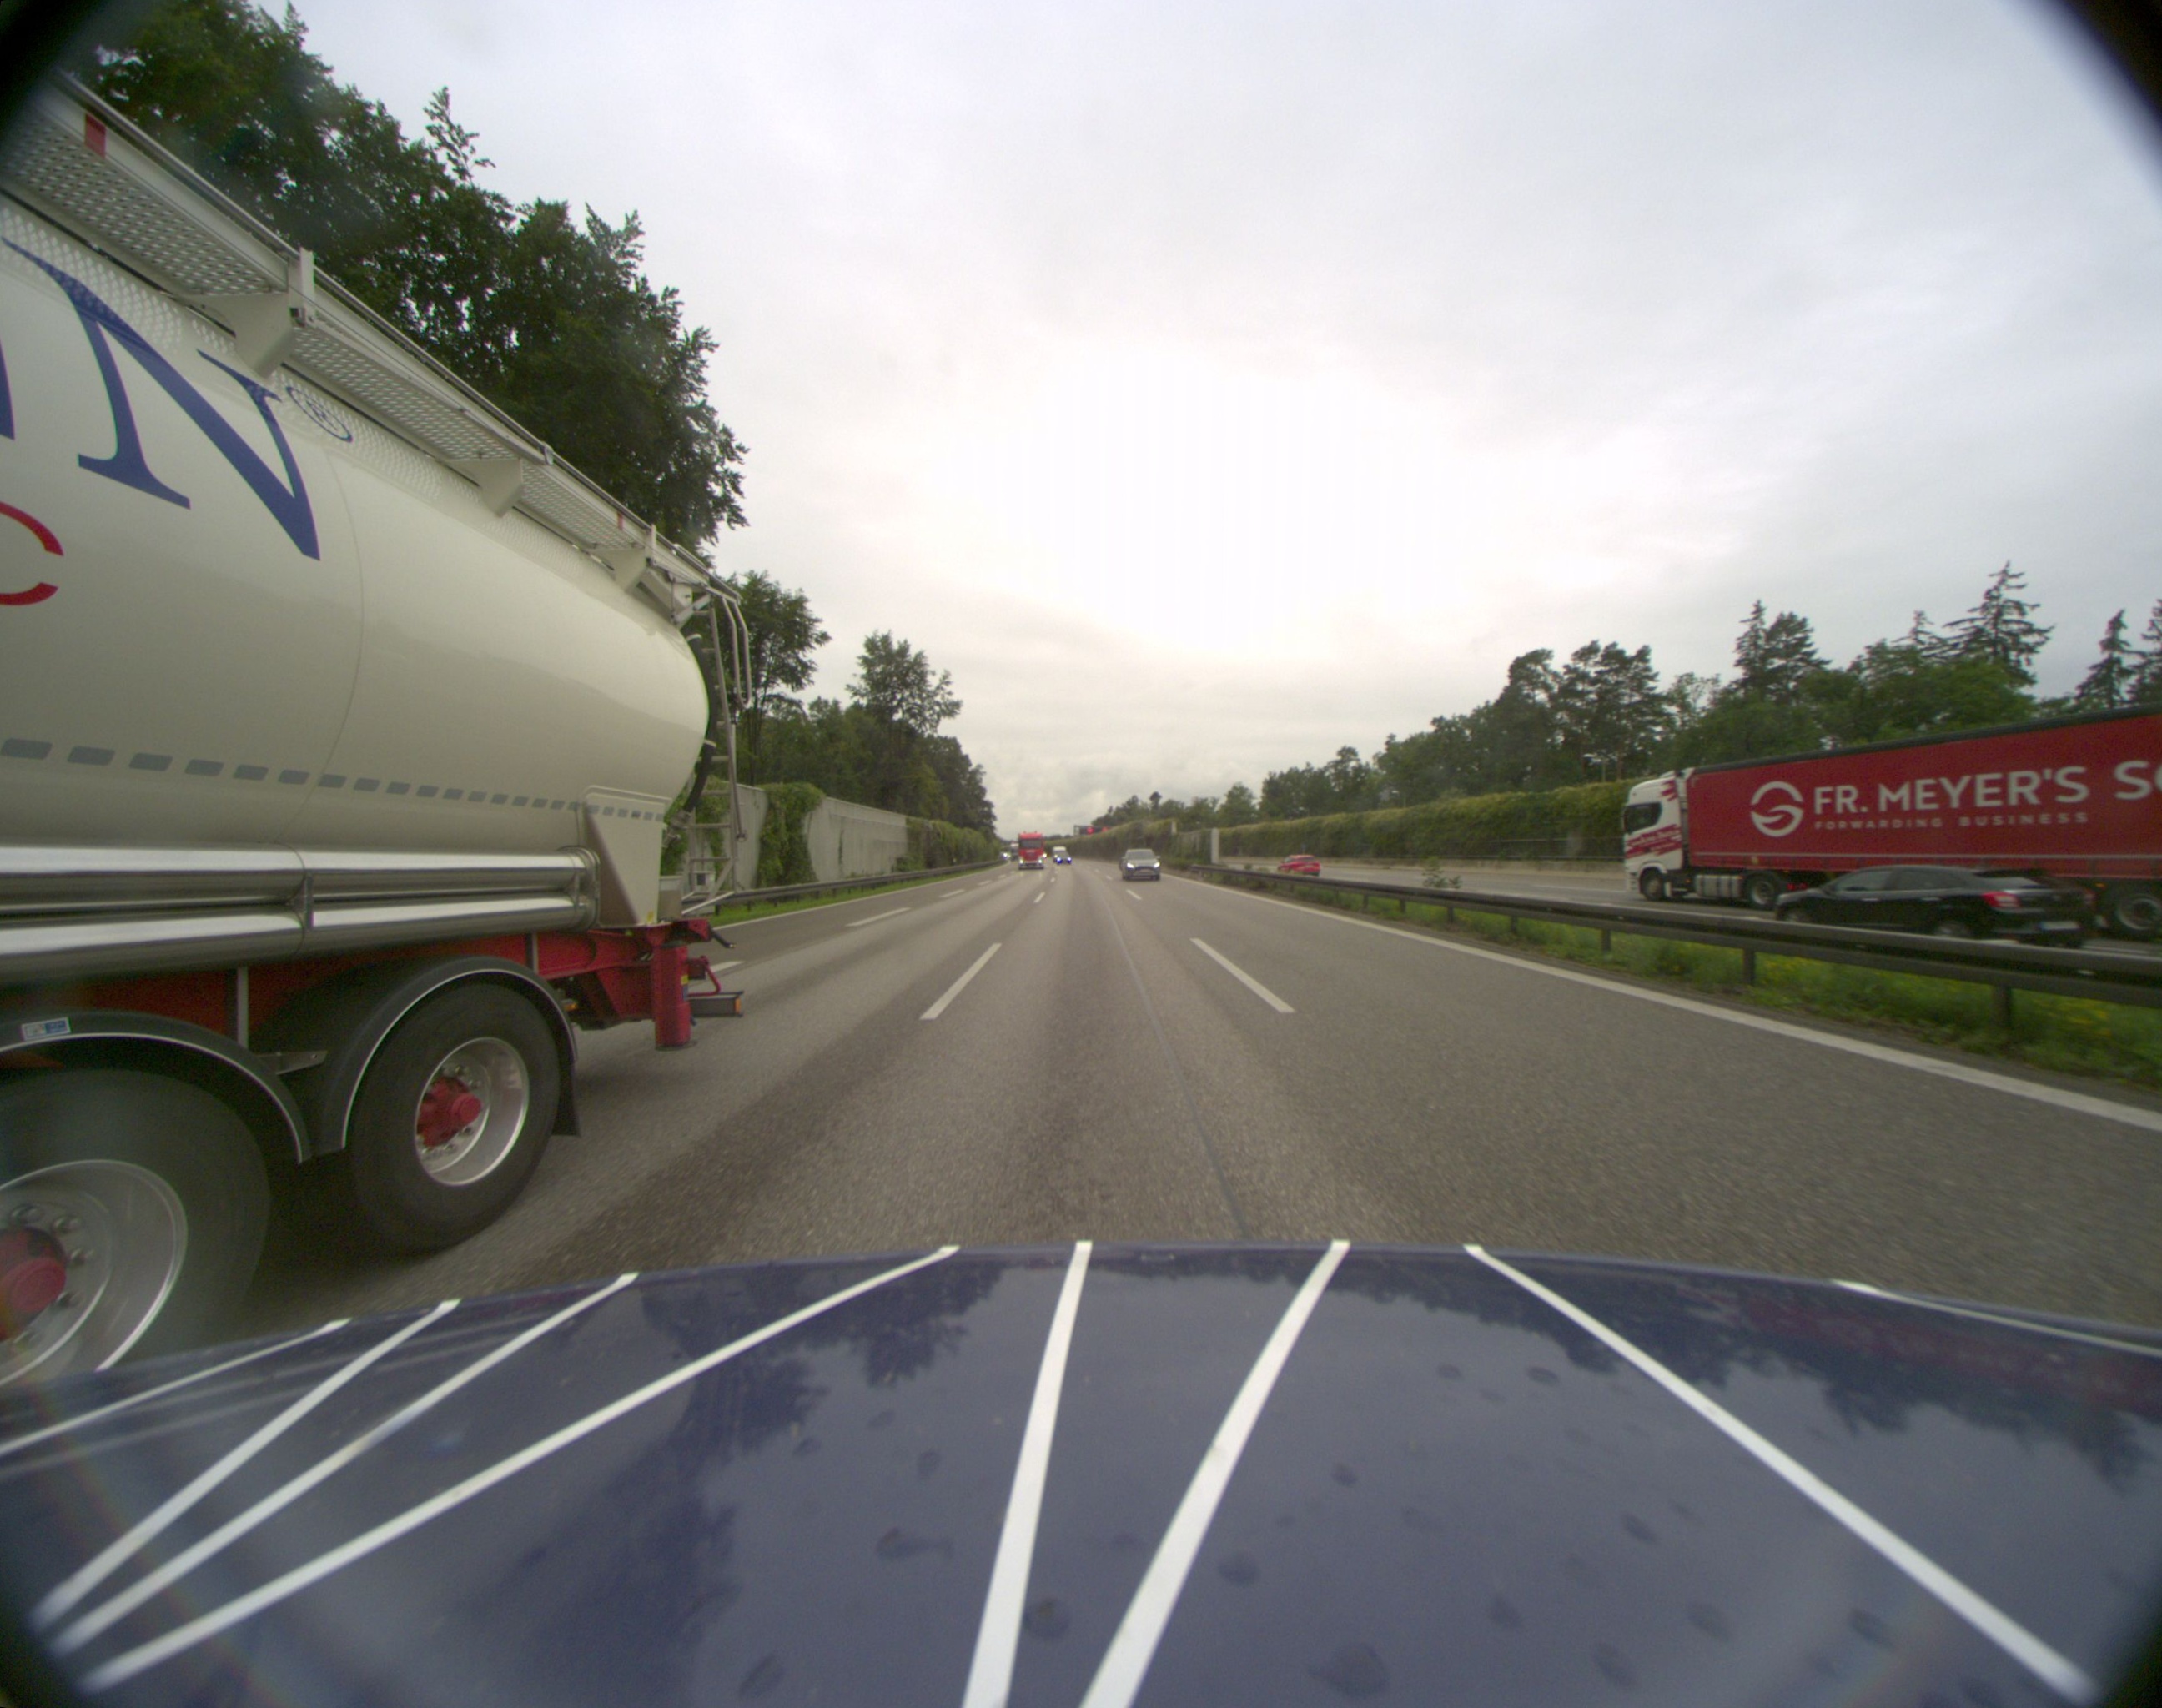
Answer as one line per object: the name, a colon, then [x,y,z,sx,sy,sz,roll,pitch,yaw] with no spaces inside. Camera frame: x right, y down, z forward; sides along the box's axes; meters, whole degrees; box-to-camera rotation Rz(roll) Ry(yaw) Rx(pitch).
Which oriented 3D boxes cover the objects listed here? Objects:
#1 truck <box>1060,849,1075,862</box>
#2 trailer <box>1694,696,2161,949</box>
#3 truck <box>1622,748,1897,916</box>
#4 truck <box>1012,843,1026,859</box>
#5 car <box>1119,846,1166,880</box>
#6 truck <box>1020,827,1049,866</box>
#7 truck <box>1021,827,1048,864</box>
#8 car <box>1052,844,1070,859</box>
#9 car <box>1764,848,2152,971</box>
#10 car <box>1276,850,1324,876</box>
truck: [-1.771,0.138,101.200,1.825,1.535,3.997,-2,3,-3]
trailer: [18.950,-0.550,14.999,2.751,4.104,13.687,-1,0,0]
truck: [18.993,-0.569,21.860,2.675,4.104,5.916,-1,1,1]
truck: [-14.336,-0.735,174.190,2.710,3.690,8.234,-1,2,-8]
car: [3.266,0.429,41.648,2.023,1.595,5.438,-2,1,-1]
truck: [-4.701,-0.847,77.457,2.709,3.809,4.196,-1,2,-2]
truck: [-5.006,-1.033,82.232,2.709,3.691,9.835,-1,2,-3]
car: [-3.287,-0.484,124.491,2.770,2.227,6.543,-1,1,-4]
car: [14.459,0.792,12.976,1.998,1.729,3.999,-1,1,0]
car: [14.558,0.546,50.747,1.776,1.560,4.716,0,1,-1]
